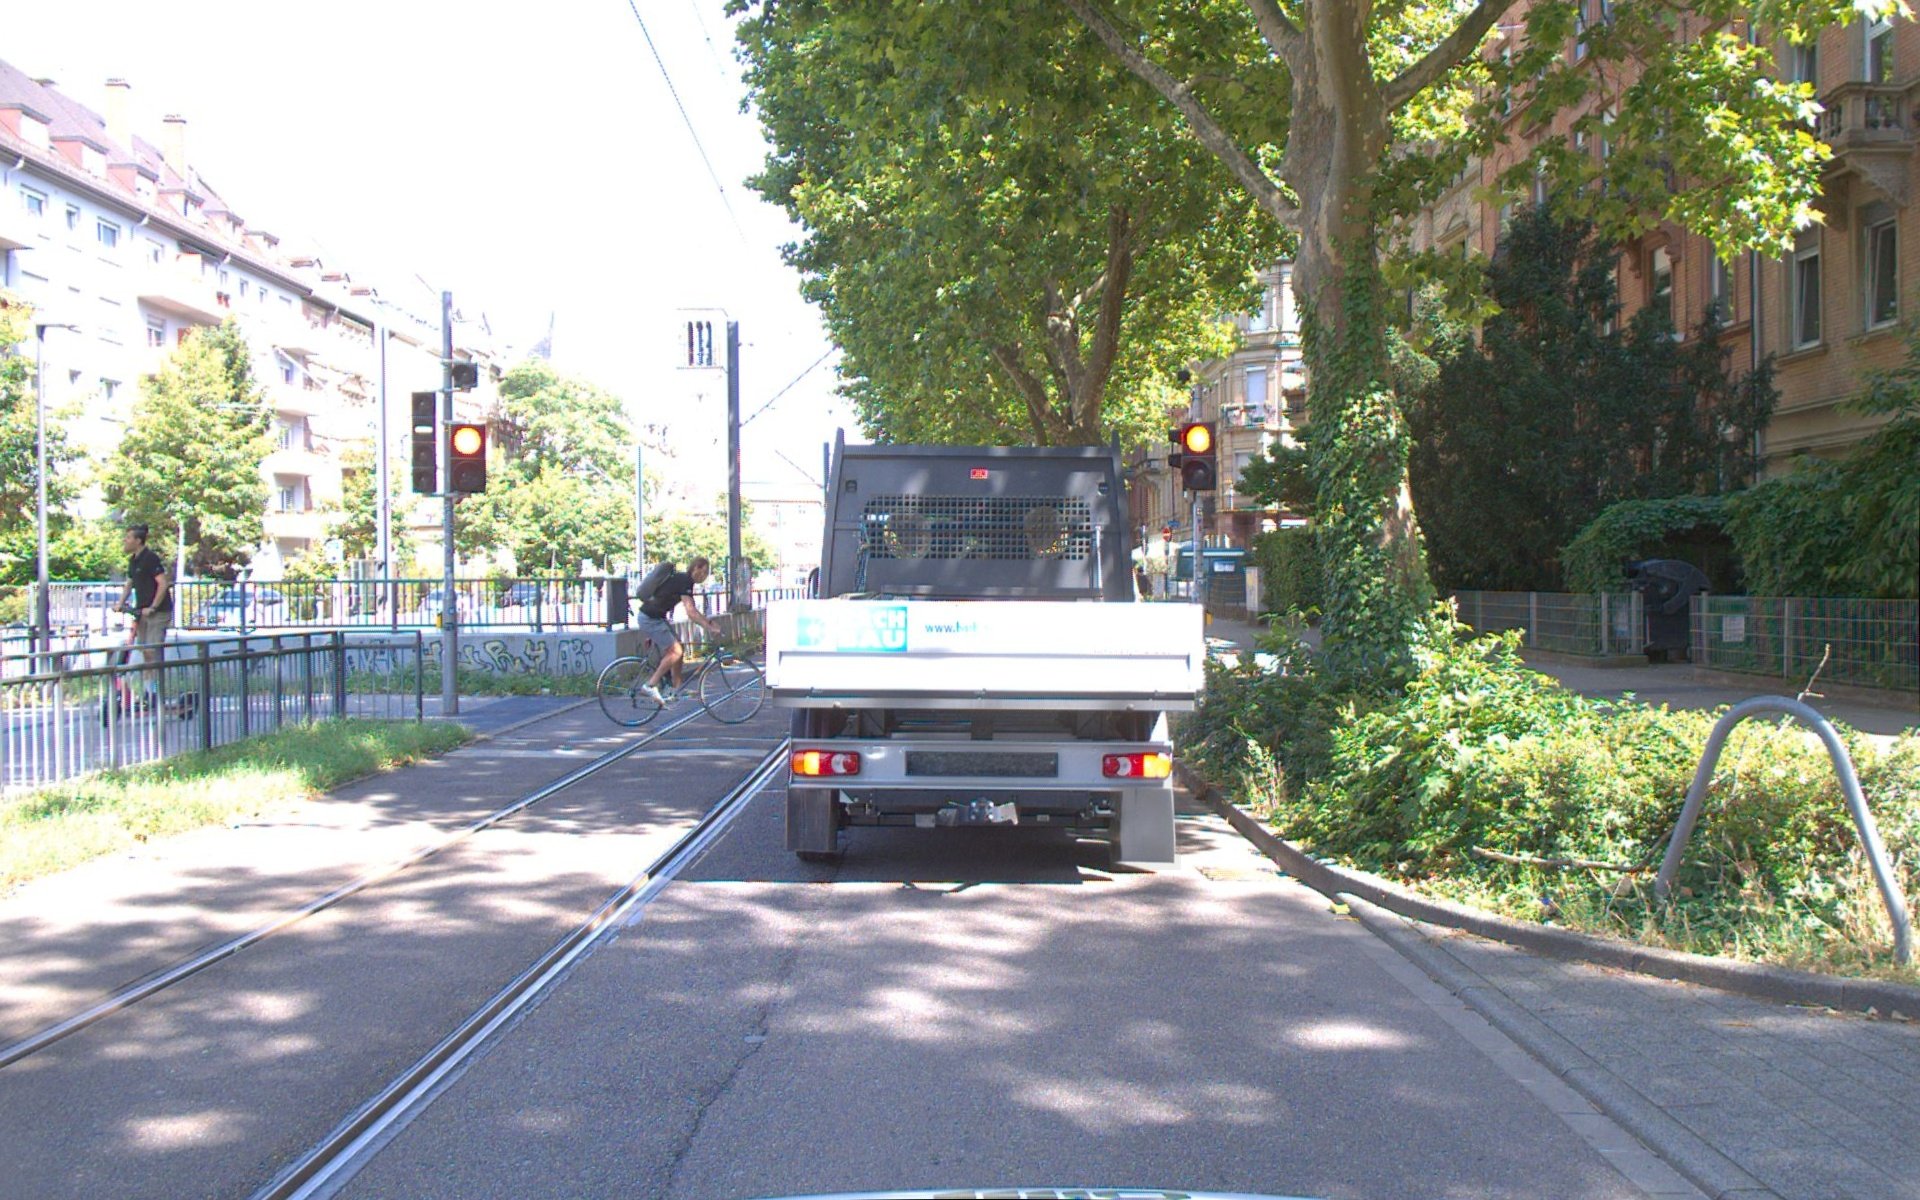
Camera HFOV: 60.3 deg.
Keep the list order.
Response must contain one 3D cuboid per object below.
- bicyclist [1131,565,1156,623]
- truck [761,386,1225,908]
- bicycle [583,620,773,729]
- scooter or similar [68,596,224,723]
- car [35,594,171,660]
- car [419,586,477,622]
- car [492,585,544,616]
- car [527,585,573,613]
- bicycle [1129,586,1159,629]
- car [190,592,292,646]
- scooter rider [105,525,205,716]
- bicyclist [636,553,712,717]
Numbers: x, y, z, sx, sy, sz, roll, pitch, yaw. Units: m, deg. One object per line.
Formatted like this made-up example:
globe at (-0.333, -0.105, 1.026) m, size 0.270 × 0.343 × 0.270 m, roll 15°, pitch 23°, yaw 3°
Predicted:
bicyclist at (5.098, -0.167, 45.973) m, size 0.625 × 1.601 × 0.579 m, roll -1°, pitch 0°, yaw 0°
truck at (0.154, 0.193, 9.820) m, size 2.094 × 2.359 × 4.401 m, roll 1°, pitch 1°, yaw 0°
bicycle at (-2.900, 0.758, 17.124) m, size 1.881 × 1.067 × 0.532 m, roll -1°, pitch 0°, yaw -3°
scooter or similar at (-8.272, 0.580, 16.848) m, size 0.644 × 1.225 × 1.266 m, roll -1°, pitch 1°, yaw 35°
car at (-22.010, 0.648, 42.629) m, size 1.737 × 1.524 × 3.995 m, roll -2°, pitch 1°, yaw -6°
car at (-22.512, 0.140, 72.840) m, size 1.737 × 1.524 × 3.994 m, roll -1°, pitch 1°, yaw -7°
car at (-22.994, 0.001, 86.196) m, size 1.735 × 1.524 × 3.998 m, roll -1°, pitch 1°, yaw -2°
car at (-23.283, -0.082, 94.029) m, size 1.735 × 1.524 × 3.998 m, roll -1°, pitch 1°, yaw -2°
bicycle at (5.114, 0.189, 46.061) m, size 0.553 × 1.131 × 2.310 m, roll -1°, pitch 1°, yaw 0°
car at (-22.199, 0.558, 51.206) m, size 1.737 × 1.524 × 3.995 m, roll -2°, pitch 1°, yaw -6°
scooter rider at (-8.230, 0.196, 16.912) m, size 0.650 × 1.899 × 0.667 m, roll -1°, pitch 0°, yaw 35°
bicyclist at (-2.952, 0.352, 17.120) m, size 0.679 × 1.651 × 0.624 m, roll -1°, pitch 0°, yaw -3°
